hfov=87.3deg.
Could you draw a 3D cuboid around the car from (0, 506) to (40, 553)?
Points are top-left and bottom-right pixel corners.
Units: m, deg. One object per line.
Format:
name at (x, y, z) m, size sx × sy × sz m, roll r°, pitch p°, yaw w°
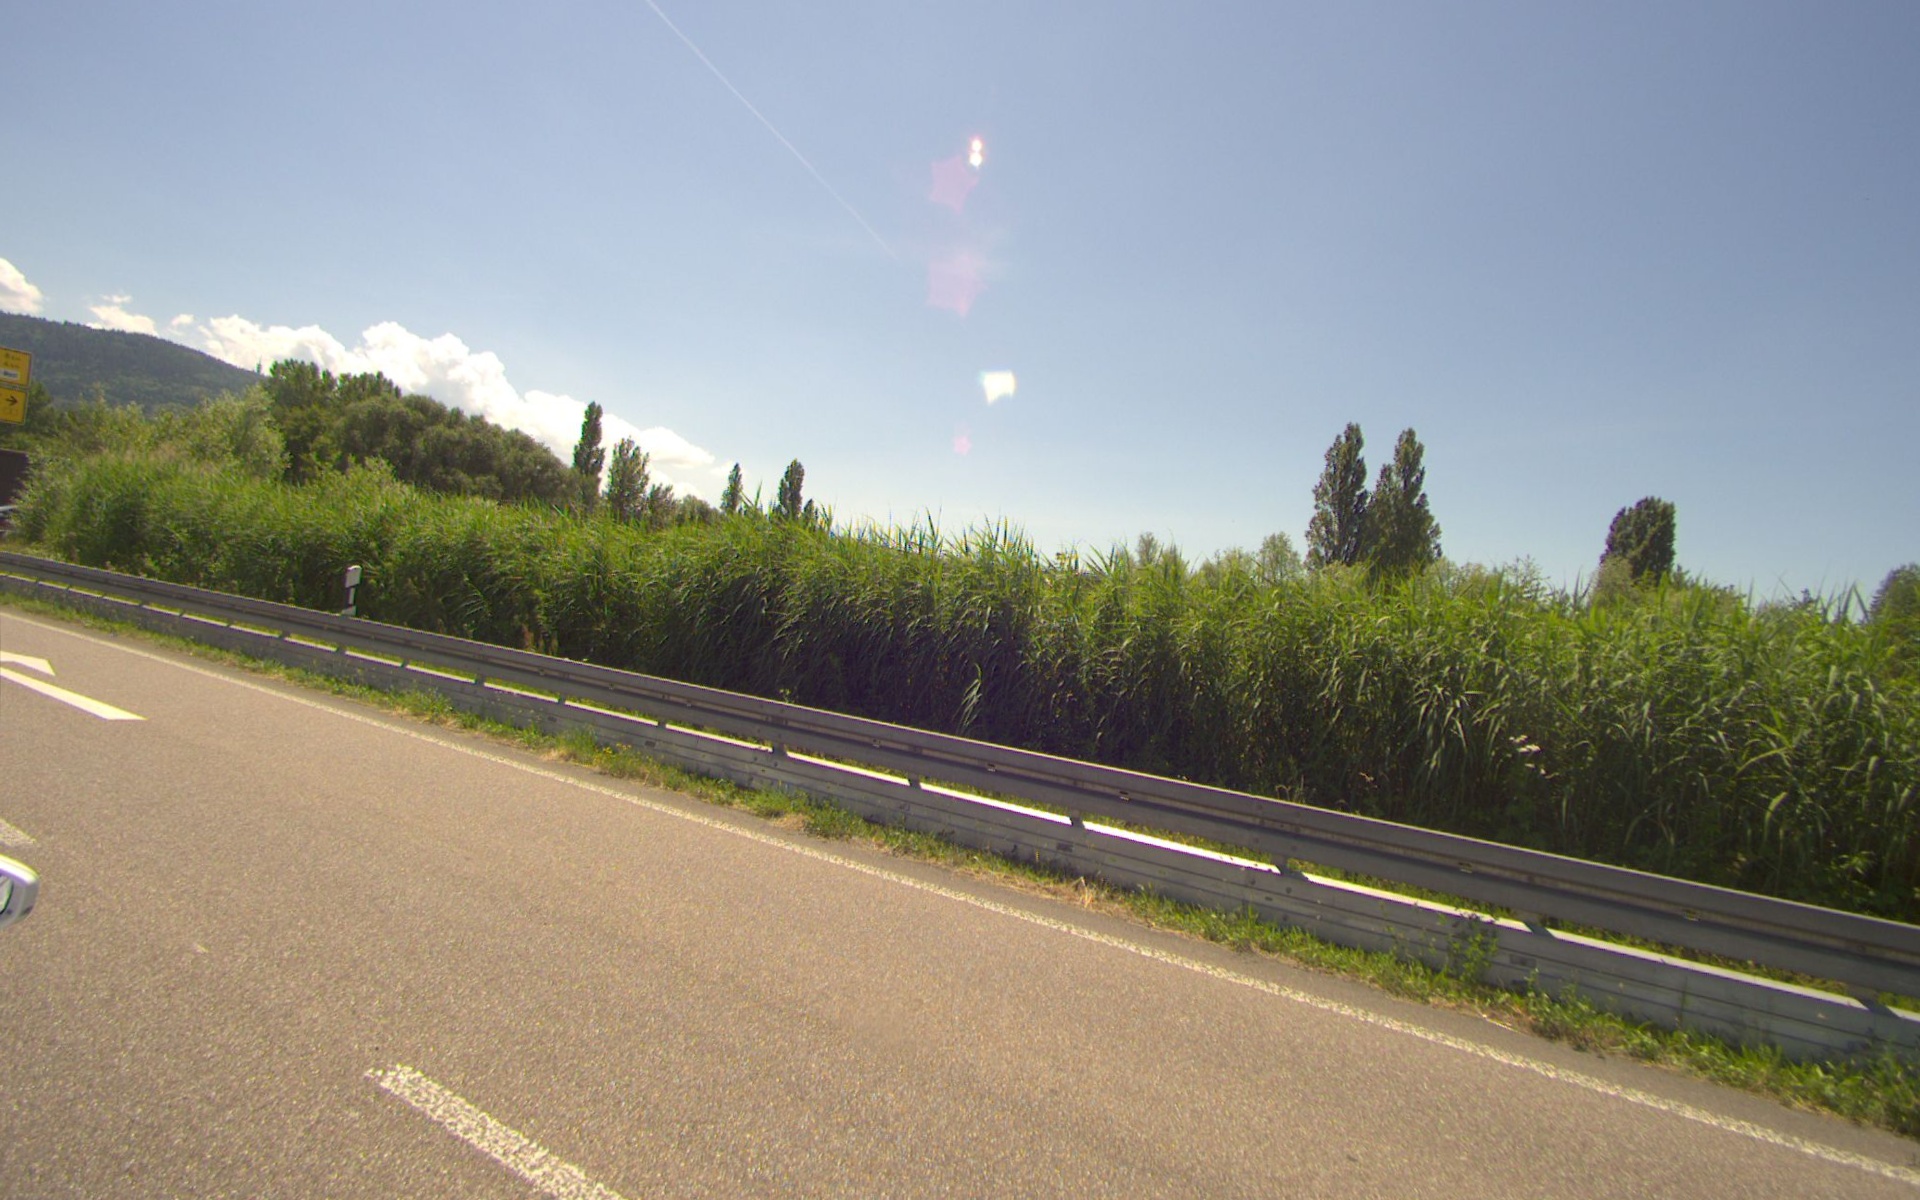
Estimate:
car at (-38.637, -2.974, 38.656) m, size 1.966 × 1.675 × 4.320 m, roll 6°, pitch -2°, yaw 29°
